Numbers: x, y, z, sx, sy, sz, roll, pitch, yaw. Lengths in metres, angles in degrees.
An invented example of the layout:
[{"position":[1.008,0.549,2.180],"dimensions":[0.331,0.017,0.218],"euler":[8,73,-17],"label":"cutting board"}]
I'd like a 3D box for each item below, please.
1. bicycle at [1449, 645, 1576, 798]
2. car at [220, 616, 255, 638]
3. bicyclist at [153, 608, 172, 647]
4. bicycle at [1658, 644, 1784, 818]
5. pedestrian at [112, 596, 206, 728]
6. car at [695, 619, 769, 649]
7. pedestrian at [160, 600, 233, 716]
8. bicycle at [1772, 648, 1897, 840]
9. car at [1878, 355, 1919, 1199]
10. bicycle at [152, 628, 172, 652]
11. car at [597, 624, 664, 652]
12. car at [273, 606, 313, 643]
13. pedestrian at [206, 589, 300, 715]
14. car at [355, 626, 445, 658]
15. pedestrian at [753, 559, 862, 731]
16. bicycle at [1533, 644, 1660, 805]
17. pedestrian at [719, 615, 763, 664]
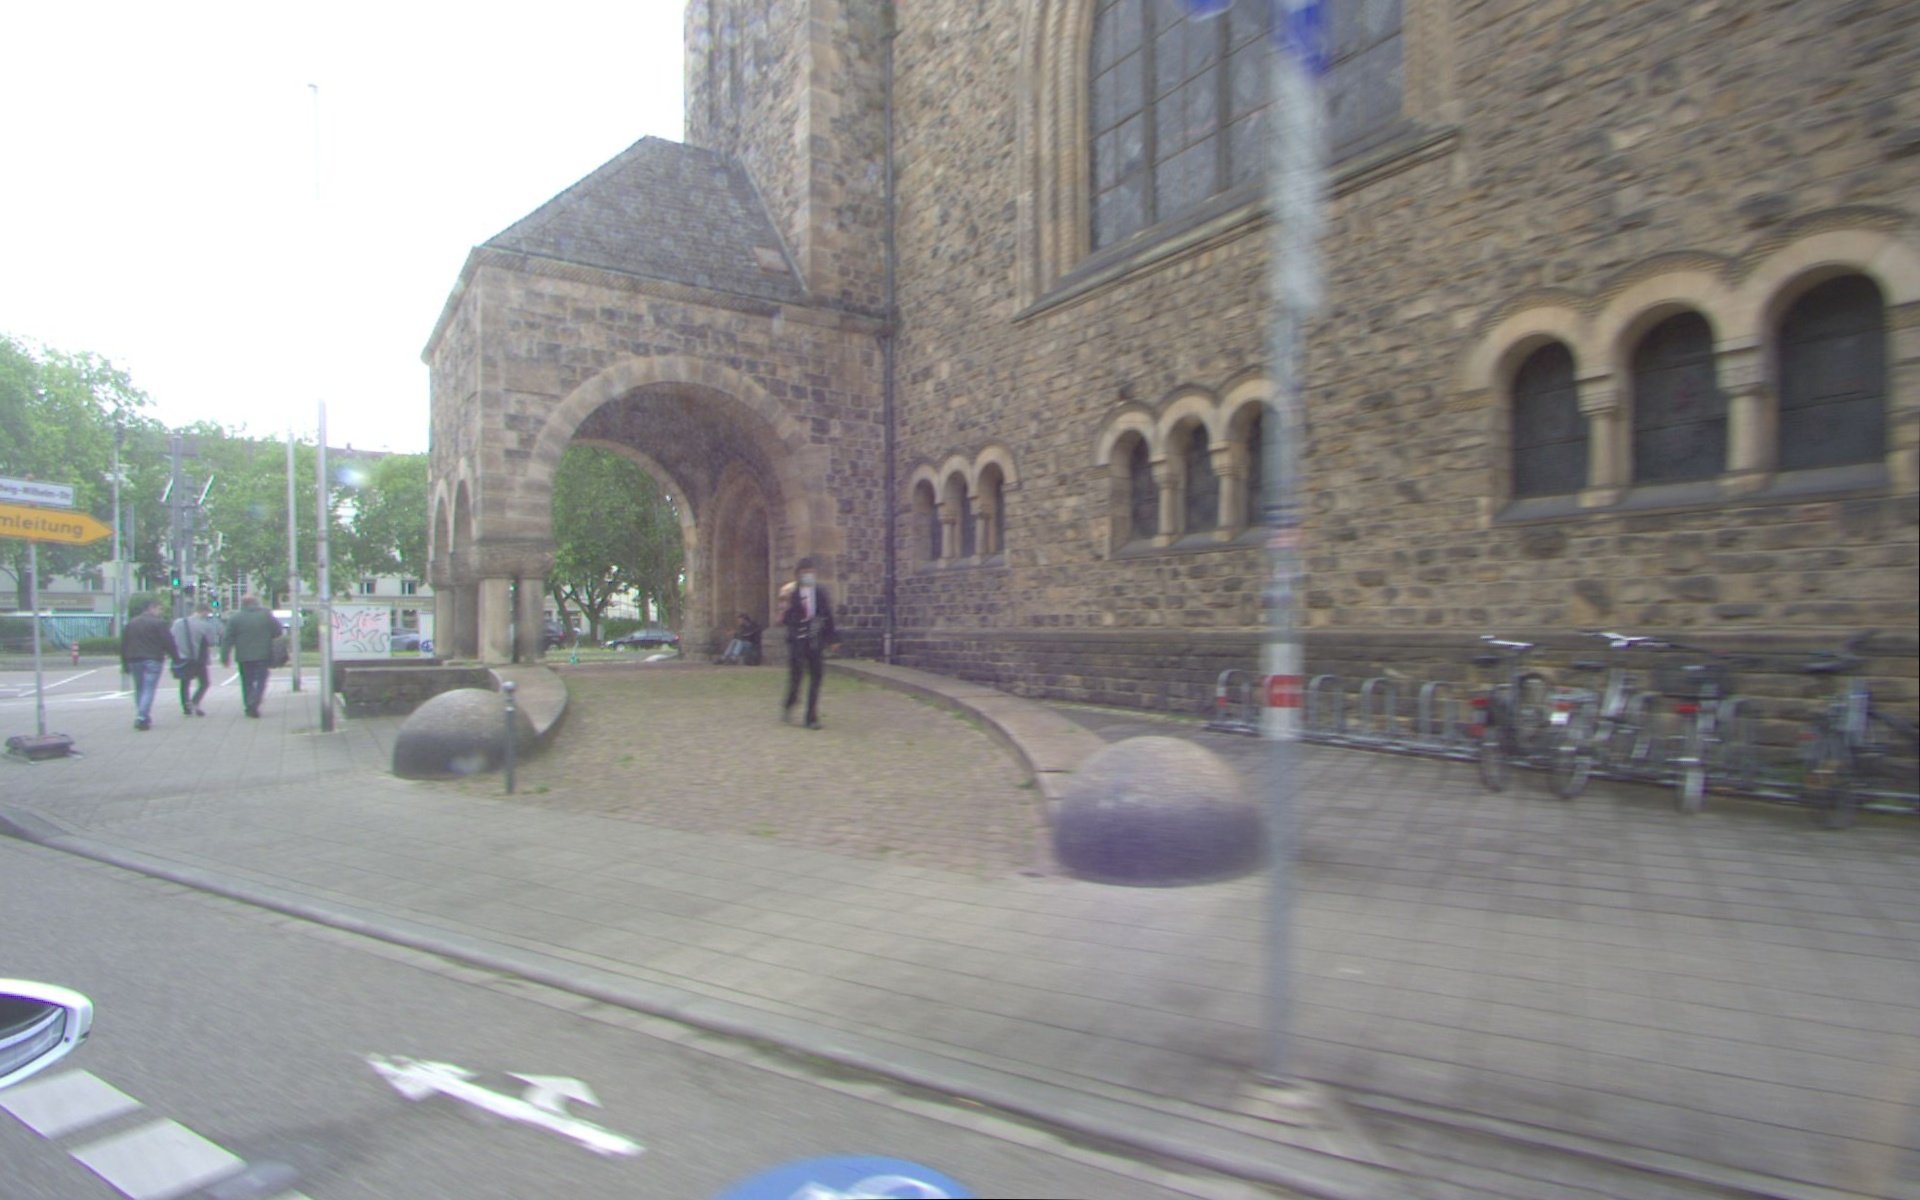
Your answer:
[{"position":[4.276,0.894,7.717],"dimensions":[1.366,1.073,0.309],"euler":[1,-1,-36],"label":"bicycle"},{"position":[-50.610,1.876,70.174],"dimensions":[1.647,1.535,3.917],"euler":[1,-1,-31],"label":"car"},{"position":[-34.803,1.193,43.695],"dimensions":[0.608,1.675,0.749],"euler":[0,-1,-36],"label":"bicyclist"},{"position":[5.211,0.847,6.833],"dimensions":[1.366,1.073,0.309],"euler":[1,-1,-36],"label":"bicycle"},{"position":[-10.868,0.811,13.588],"dimensions":[0.955,1.708,0.673],"euler":[0,2,32],"label":"pedestrian"},{"position":[-16.890,2.478,74.230],"dimensions":[5.023,2.123,1.980],"euler":[1,-1,-35],"label":"car"},{"position":[-11.619,0.856,15.230],"dimensions":[0.957,1.695,0.630],"euler":[0,2,39],"label":"pedestrian"},{"position":[5.496,0.853,6.273],"dimensions":[1.327,1.073,0.309],"euler":[1,-1,-36],"label":"bicycle"},{"position":[3.790,0.441,0.156],"dimensions":[5.088,1.945,1.802],"euler":[-1,-1,31],"label":"car"},{"position":[-34.829,1.734,43.725],"dimensions":[0.546,1.008,2.047],"euler":[0,-1,-35],"label":"bicycle"},{"position":[-19.340,2.191,58.793],"dimensions":[3.423,1.581,1.676],"euler":[1,-1,-35],"label":"car"},{"position":[-49.439,1.812,74.325],"dimensions":[2.211,2.673,5.417],"euler":[1,-1,-31],"label":"car"},{"position":[-10.520,0.747,14.905],"dimensions":[0.955,1.782,0.802],"euler":[0,2,32],"label":"pedestrian"},{"position":[-28.916,2.161,51.768],"dimensions":[3.939,1.581,1.676],"euler":[1,-1,-35],"label":"car"},{"position":[-1.747,0.474,11.410],"dimensions":[0.806,1.834,1.012],"euler":[0,3,-37],"label":"pedestrian"},{"position":[4.696,0.875,7.361],"dimensions":[1.366,1.073,0.309],"euler":[1,-1,-36],"label":"bicycle"},{"position":[-4.368,0.775,19.956],"dimensions":[0.665,0.964,0.611],"euler":[0,-1,-36],"label":"pedestrian"}]
